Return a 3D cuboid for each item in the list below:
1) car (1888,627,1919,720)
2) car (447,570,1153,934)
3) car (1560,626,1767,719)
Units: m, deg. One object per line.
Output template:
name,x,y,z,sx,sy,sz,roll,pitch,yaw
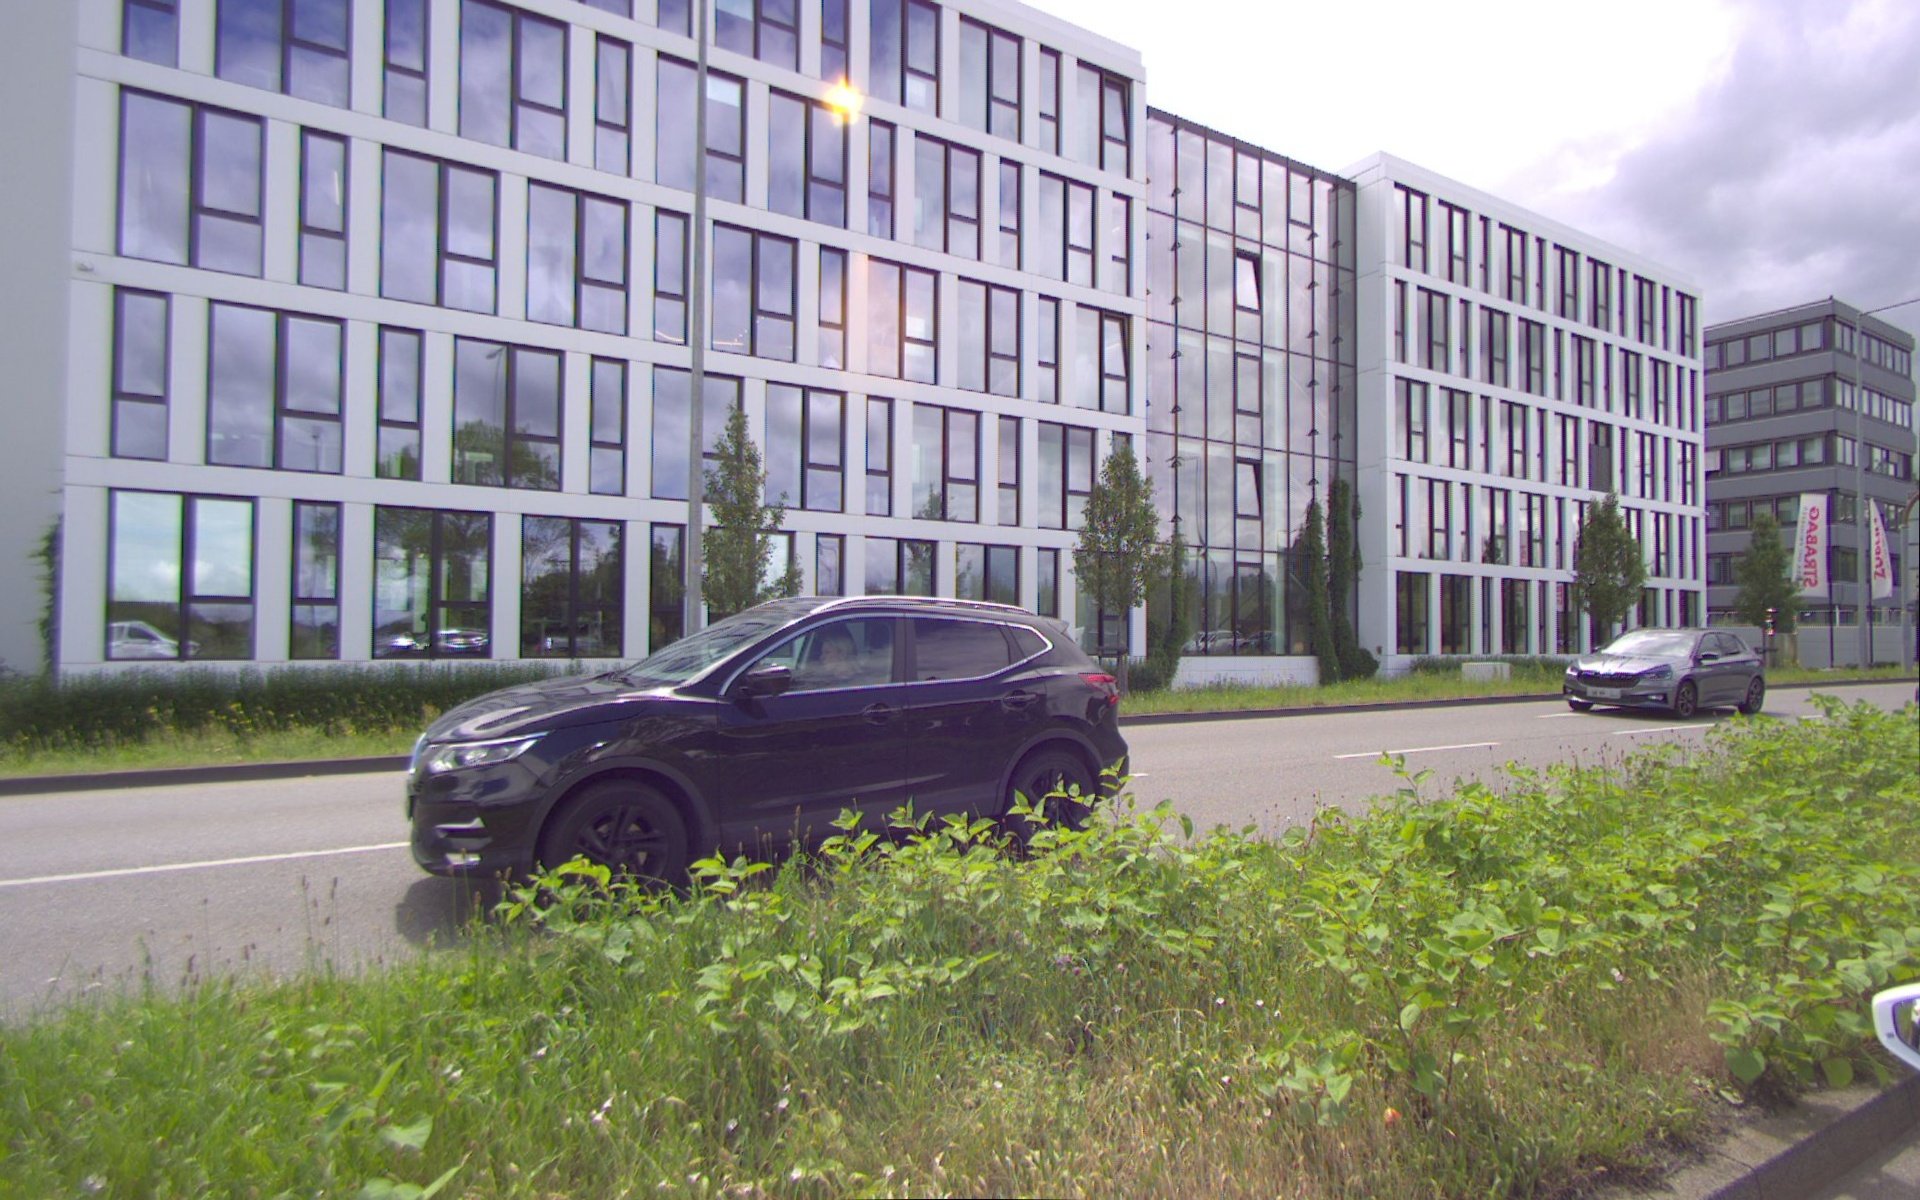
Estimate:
car,16.850,1.172,15.702,3.571,1.449,1.691,1,-1,-12
car,-0.892,0.749,6.240,3.996,1.623,1.688,2,-2,-30
car,11.939,1.153,17.000,3.737,1.401,1.546,1,-1,-32
